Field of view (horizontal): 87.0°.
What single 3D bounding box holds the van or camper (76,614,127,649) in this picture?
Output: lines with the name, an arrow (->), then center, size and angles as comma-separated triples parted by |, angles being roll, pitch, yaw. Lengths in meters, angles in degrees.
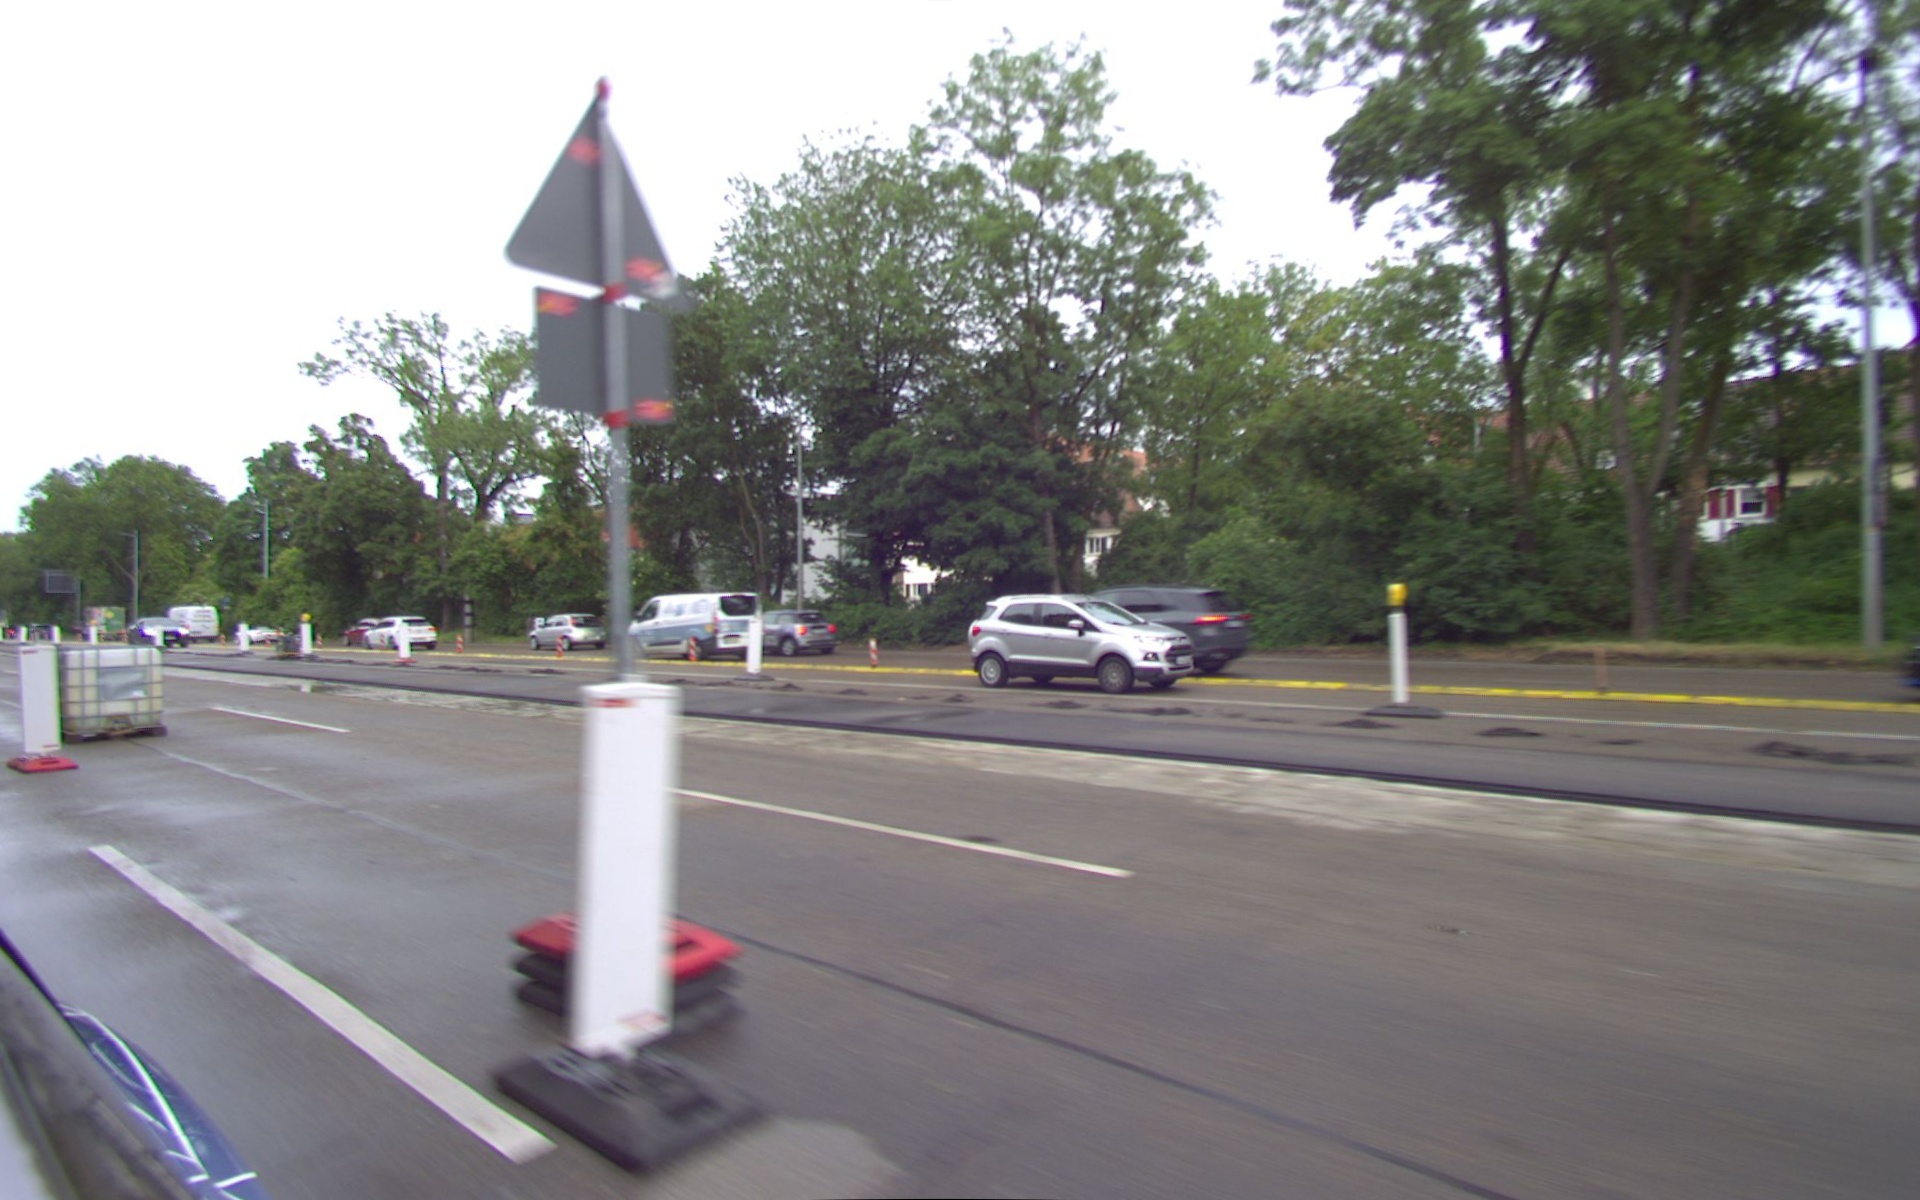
van or camper -> -79.028, 2.928, 93.113 | 7.444, 3.086, 2.275 | -2, -1, 39

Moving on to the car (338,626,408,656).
car -> -30.677, 2.135, 52.809 | 4.482, 1.487, 1.712 | -2, -1, 39

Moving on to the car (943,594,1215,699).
car -> 1.980, 0.770, 17.576 | 4.359, 1.576, 1.870 | -2, 0, 40

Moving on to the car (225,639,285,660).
car -> -44.365, 3.124, 63.680 | 3.988, 1.192, 1.676 | -2, 0, 33

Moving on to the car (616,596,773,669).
car -> -7.941, 0.961, 30.050 | 4.896, 1.987, 1.974 | -2, -1, 38

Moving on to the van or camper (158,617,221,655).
van or camper -> -56.187, 2.596, 73.699 | 7.723, 2.574, 1.973 | -2, 0, 40

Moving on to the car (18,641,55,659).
car -> -89.880, 4.862, 98.499 | 4.802, 1.706, 1.974 | -2, -2, 40

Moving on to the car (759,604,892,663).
car -> -4.133, 1.004, 30.821 | 3.997, 1.634, 1.809 | -2, 0, 40

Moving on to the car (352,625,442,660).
car -> -24.619, 1.824, 44.189 | 4.389, 1.426, 1.973 | -1, -1, 40

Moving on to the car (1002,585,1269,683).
car -> 3.431, 0.662, 20.486 | 5.010, 1.738, 2.000 | -2, 0, 41

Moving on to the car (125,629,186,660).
car -> -45.218, 2.473, 56.848 | 4.811, 1.641, 1.972 | -2, -1, 43

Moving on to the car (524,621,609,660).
car -> -15.760, 1.610, 40.505 | 3.637, 1.411, 1.662 | -2, -1, 41

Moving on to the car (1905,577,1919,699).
car -> 13.695, 0.401, 11.485 | 4.193, 1.499, 1.758 | -2, -1, 40
